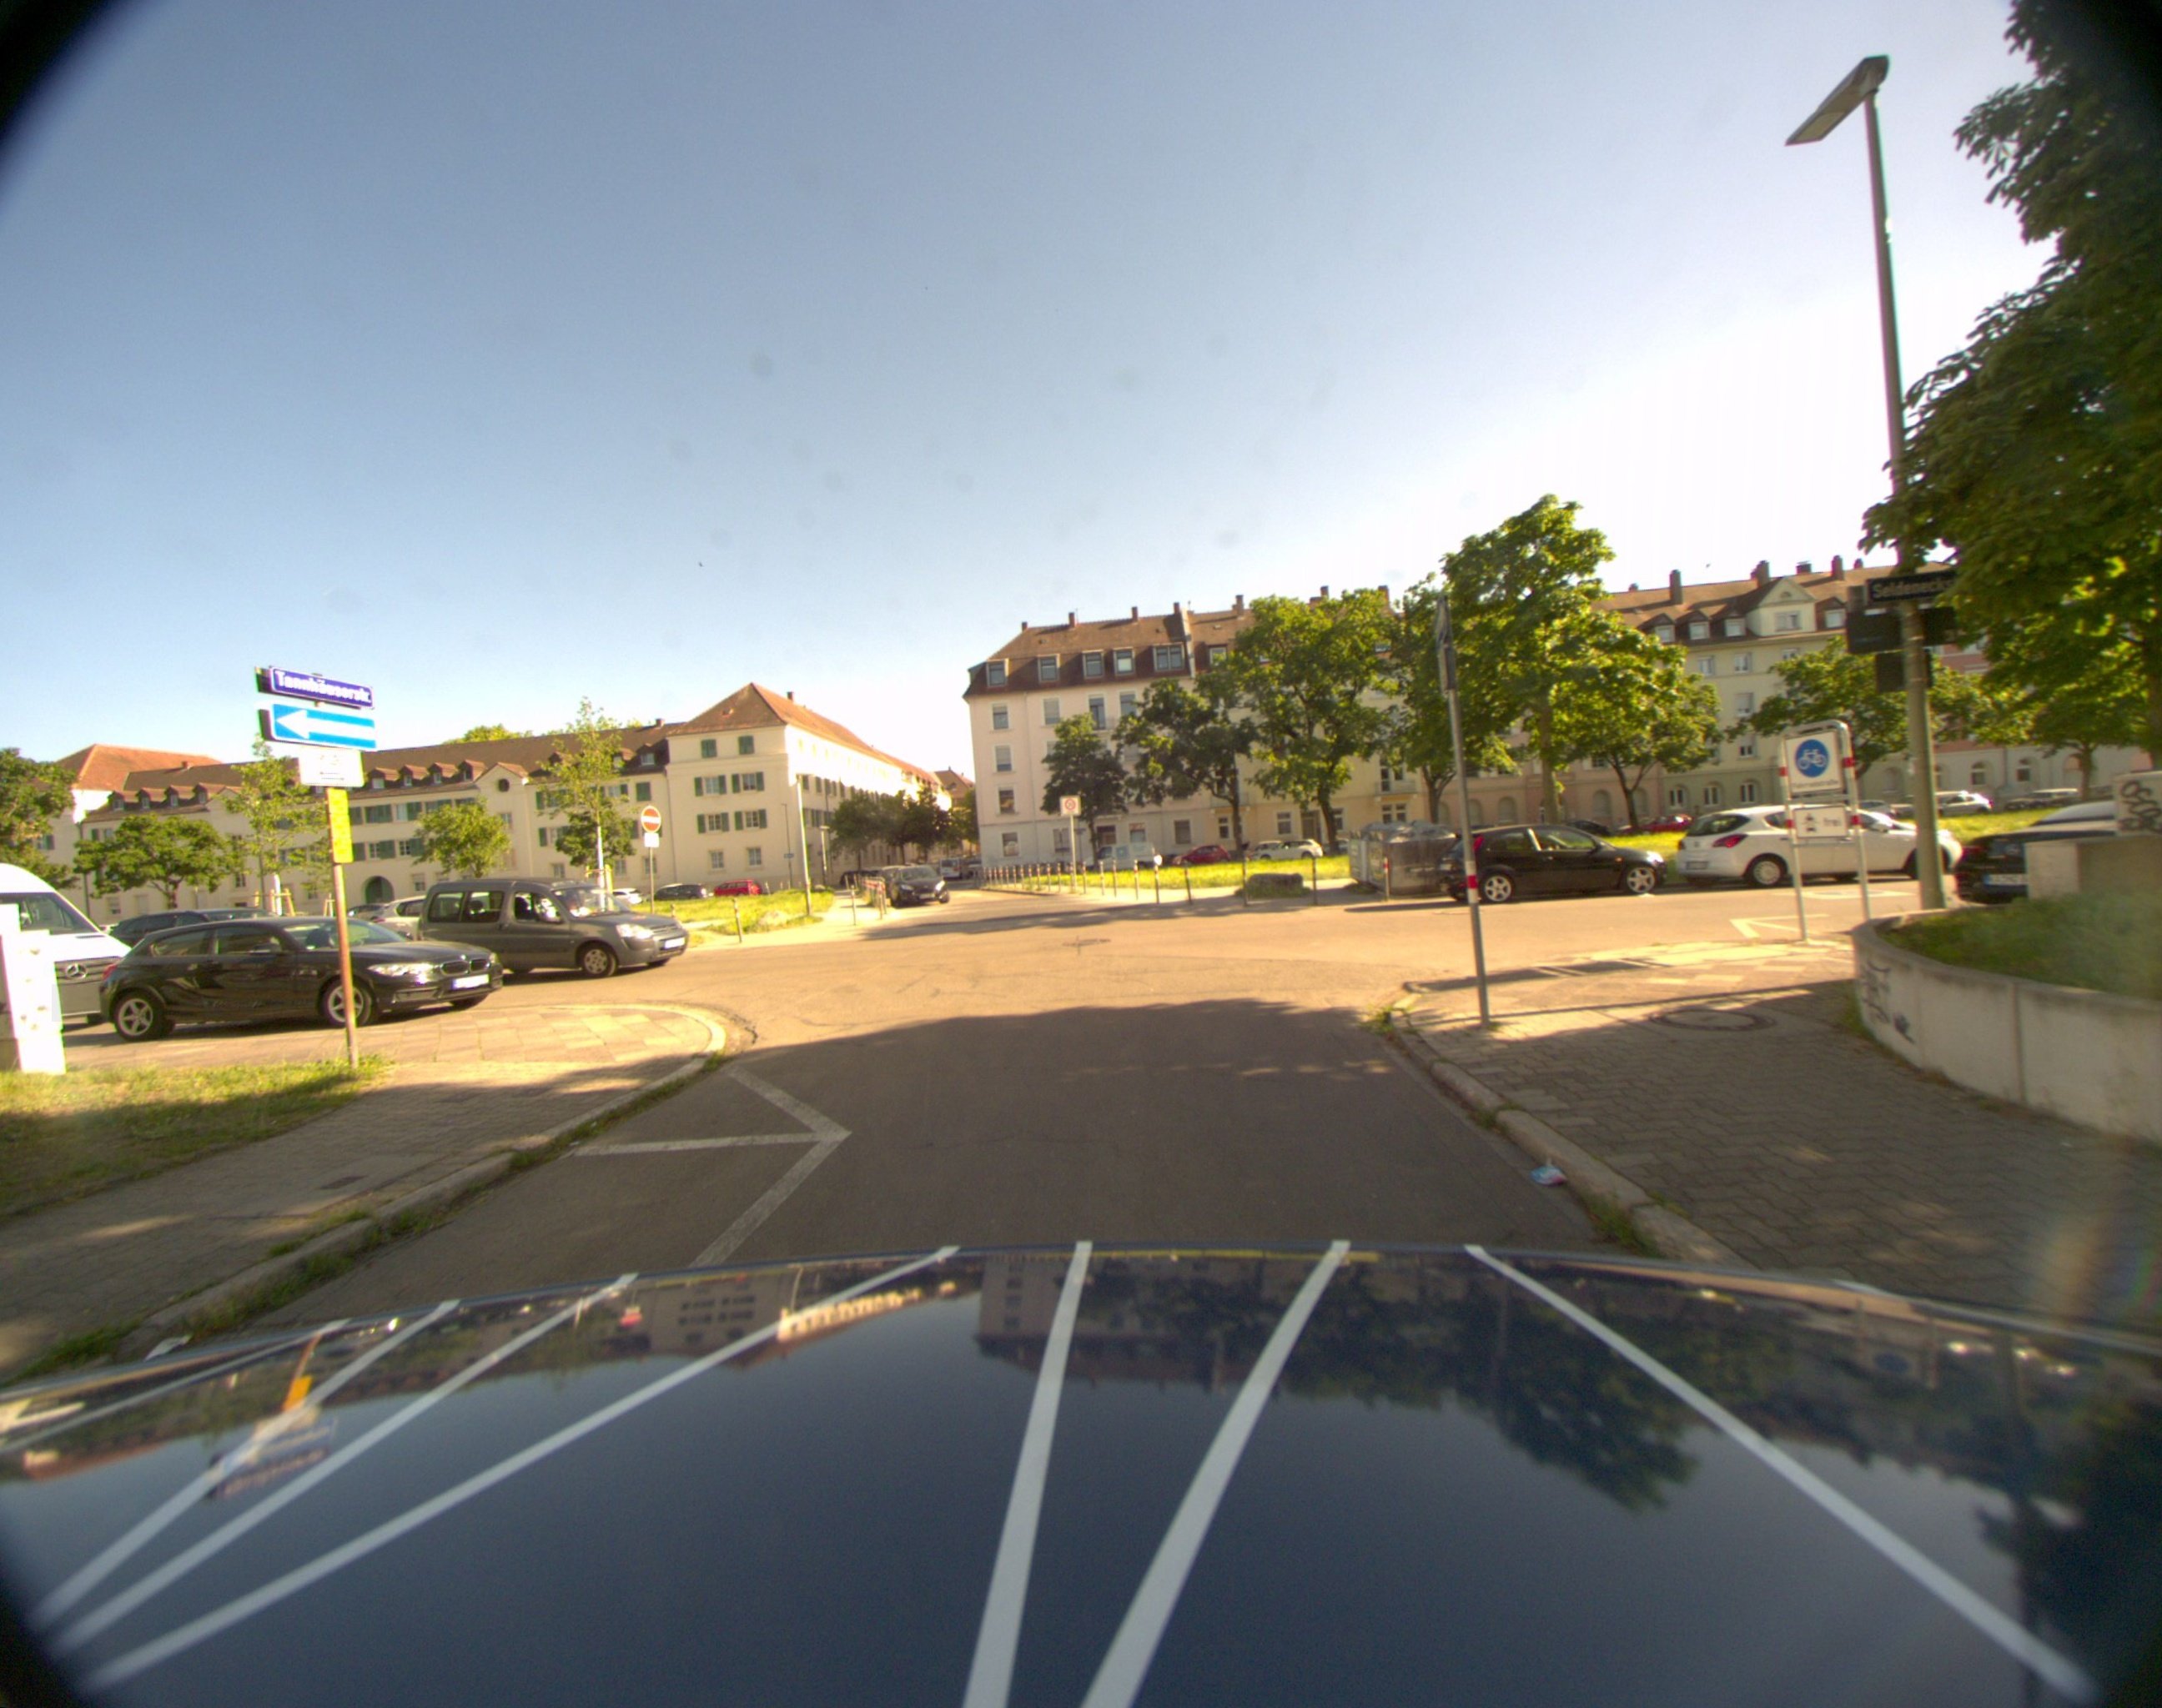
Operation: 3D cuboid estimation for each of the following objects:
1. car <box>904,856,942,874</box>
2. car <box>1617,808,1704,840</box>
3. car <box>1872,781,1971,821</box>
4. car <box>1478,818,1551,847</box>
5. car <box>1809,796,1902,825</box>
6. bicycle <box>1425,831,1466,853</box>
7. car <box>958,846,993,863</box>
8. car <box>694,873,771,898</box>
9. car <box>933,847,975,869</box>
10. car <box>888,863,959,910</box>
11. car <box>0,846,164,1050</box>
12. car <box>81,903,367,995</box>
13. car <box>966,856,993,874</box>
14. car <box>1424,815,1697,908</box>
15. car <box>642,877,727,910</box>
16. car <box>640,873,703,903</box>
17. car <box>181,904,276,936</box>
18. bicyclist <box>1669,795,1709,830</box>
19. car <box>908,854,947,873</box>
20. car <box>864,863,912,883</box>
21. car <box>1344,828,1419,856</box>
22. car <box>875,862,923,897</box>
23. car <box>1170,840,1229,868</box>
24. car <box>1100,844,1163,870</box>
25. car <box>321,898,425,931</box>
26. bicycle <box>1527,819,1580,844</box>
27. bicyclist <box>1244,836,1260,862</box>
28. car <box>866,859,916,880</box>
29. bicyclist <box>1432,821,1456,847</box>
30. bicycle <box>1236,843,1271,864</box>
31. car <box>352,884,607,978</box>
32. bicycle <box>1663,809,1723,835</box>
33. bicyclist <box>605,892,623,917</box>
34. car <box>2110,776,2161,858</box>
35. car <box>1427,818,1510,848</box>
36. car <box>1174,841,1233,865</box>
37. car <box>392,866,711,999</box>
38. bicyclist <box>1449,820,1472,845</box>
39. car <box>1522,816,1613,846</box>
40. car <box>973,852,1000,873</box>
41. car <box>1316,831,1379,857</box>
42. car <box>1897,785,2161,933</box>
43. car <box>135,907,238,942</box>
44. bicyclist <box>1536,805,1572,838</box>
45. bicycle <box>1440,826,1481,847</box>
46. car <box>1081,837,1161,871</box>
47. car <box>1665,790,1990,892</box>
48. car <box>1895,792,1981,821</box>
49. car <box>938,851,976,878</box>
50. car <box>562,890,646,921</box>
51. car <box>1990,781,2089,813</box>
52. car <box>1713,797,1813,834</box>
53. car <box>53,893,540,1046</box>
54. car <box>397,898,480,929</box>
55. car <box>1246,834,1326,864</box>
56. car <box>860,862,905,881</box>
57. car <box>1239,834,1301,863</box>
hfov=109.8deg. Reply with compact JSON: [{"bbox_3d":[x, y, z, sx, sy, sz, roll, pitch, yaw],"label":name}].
[{"bbox_3d":[-17.041,1.209,82.154,3.612,1.631,1.832,-4,1,1],"label":"car"},{"bbox_3d":[36.277,-1.856,47.603,4.077,1.677,1.637,-4,1,3],"label":"car"},{"bbox_3d":[57.025,-3.559,51.607,4.459,2.246,1.782,-4,1,3],"label":"car"},{"bbox_3d":[30.567,-1.492,53.677,3.995,1.691,1.853,-4,1,7],"label":"car"},{"bbox_3d":[47.533,-2.666,46.699,3.770,1.421,1.700,-4,1,6],"label":"car"},{"bbox_3d":[20.942,-0.688,43.703,1.954,1.073,0.734,-4,1,3],"label":"bicycle"},{"bbox_3d":[-16.687,0.092,120.320,4.952,2.381,1.956,-4,1,1],"label":"car"},{"bbox_3d":[-26.830,2.398,58.516,4.953,1.476,2.001,-4,0,4],"label":"car"},{"bbox_3d":[-16.747,0.538,100.275,4.952,2.505,1.956,-4,1,1],"label":"car"},{"bbox_3d":[-5.916,1.125,28.186,1.921,1.401,4.341,-7,1,-19],"label":"car"},{"bbox_3d":[-17.662,1.493,10.973,6.833,2.696,2.151,-4,-1,6],"label":"car"},{"bbox_3d":[-19.478,2.128,17.387,4.709,1.628,1.850,-4,-1,5],"label":"car"},{"bbox_3d":[-9.964,1.042,74.654,1.936,1.560,3.882,-4,1,1],"label":"car"},{"bbox_3d":[8.827,0.159,14.298,3.911,1.416,1.755,-3,-1,6],"label":"car"},{"bbox_3d":[-27.626,2.735,53.059,4.700,1.810,2.165,-4,1,3],"label":"car"},{"bbox_3d":[-31.774,2.663,58.974,3.893,2.002,1.671,-4,1,5],"label":"car"},{"bbox_3d":[-69.493,5.361,62.000,5.253,1.973,2.228,-4,1,3],"label":"car"},{"bbox_3d":[34.586,-2.337,43.220,1.448,1.826,0.945,-3,0,4],"label":"bicyclist"},{"bbox_3d":[-17.075,1.076,84.551,3.709,1.824,1.956,-4,1,1],"label":"car"},{"bbox_3d":[-17.156,1.699,67.722,3.664,1.512,1.713,-4,1,4],"label":"car"},{"bbox_3d":[19.308,-0.767,48.990,4.077,1.518,1.699,-4,1,3],"label":"car"},{"bbox_3d":[-9.660,1.327,40.083,1.930,1.567,4.342,-5,0,-19],"label":"car"},{"bbox_3d":[8.659,0.005,55.720,4.049,1.741,2.000,-4,1,6],"label":"car"},{"bbox_3d":[3.703,0.201,55.904,4.448,1.577,2.000,-4,1,1],"label":"car"},{"bbox_3d":[-51.230,4.368,55.075,5.447,1.810,2.459,-4,1,6],"label":"car"},{"bbox_3d":[27.696,-1.322,44.544,2.634,1.245,0.812,-5,1,-6],"label":"bicycle"},{"bbox_3d":[11.498,-0.344,51.166,0.878,1.681,0.632,-4,1,4],"label":"bicyclist"},{"bbox_3d":[-18.174,1.493,72.911,4.238,1.691,1.706,-4,1,3],"label":"car"},{"bbox_3d":[20.874,-1.163,43.719,0.941,1.429,0.740,-3,0,5],"label":"bicyclist"},{"bbox_3d":[11.595,-0.056,51.169,2.152,1.251,0.714,-4,1,3],"label":"bicycle"},{"bbox_3d":[-13.030,1.640,16.606,4.282,1.637,1.763,-4,-1,6],"label":"car"},{"bbox_3d":[34.761,-1.796,43.184,2.632,1.245,0.813,-4,1,3],"label":"bicycle"},{"bbox_3d":[-35.168,3.799,57.192,0.801,1.792,0.675,-4,1,5],"label":"bicyclist"},{"bbox_3d":[21.165,-0.799,13.053,4.121,1.453,1.786,-4,1,6],"label":"car"},{"bbox_3d":[24.586,-1.309,48.356,4.351,1.540,1.637,-4,1,3],"label":"car"},{"bbox_3d":[7.998,-0.096,49.852,3.523,1.272,1.699,-4,1,3],"label":"car"},{"bbox_3d":[-9.017,1.299,13.184,4.152,1.780,1.904,-5,1,5],"label":"car"},{"bbox_3d":[22.416,-1.251,44.913,0.941,1.429,0.740,-3,0,5],"label":"bicyclist"},{"bbox_3d":[30.766,-1.459,48.099,4.524,1.540,1.762,-4,1,3],"label":"car"},{"bbox_3d":[-9.894,0.839,79.640,1.998,1.962,5.052,-4,1,0],"label":"car"},{"bbox_3d":[19.132,-0.711,54.734,3.857,1.606,1.891,-4,1,4],"label":"car"},{"bbox_3d":[11.912,-0.075,7.771,4.500,1.329,2.134,-4,-2,6],"label":"car"},{"bbox_3d":[-66.293,5.211,56.356,5.252,1.973,2.228,-4,1,5],"label":"car"},{"bbox_3d":[27.711,-1.887,44.540,1.449,1.826,0.944,-3,0,-6],"label":"bicyclist"},{"bbox_3d":[22.434,-1.013,44.917,1.954,1.073,0.734,-4,1,3],"label":"bicycle"},{"bbox_3d":[2.669,-0.028,50.651,5.093,1.861,2.088,-4,1,3],"label":"car"},{"bbox_3d":[13.302,-0.185,13.786,3.870,1.486,1.784,-4,-1,6],"label":"car"},{"bbox_3d":[52.197,-2.868,46.318,3.337,1.432,1.385,-4,1,6],"label":"car"},{"bbox_3d":[-10.394,0.826,63.960,2.138,2.002,4.576,-4,1,2],"label":"car"},{"bbox_3d":[-37.295,3.997,59.488,5.153,1.875,2.161,-4,1,5],"label":"car"},{"bbox_3d":[64.316,-3.810,51.021,3.996,1.739,1.866,-4,1,4],"label":"car"},{"bbox_3d":[42.278,-2.361,47.138,4.457,1.897,1.742,-4,1,3],"label":"car"},{"bbox_3d":[-10.059,1.436,9.995,4.494,1.473,1.966,-4,-1,4],"label":"car"},{"bbox_3d":[-46.188,4.263,54.653,4.004,1.740,2.325,-4,1,6],"label":"car"},{"bbox_3d":[13.281,-0.325,49.443,4.693,1.552,1.699,-4,1,3],"label":"car"},{"bbox_3d":[-18.425,1.609,70.684,3.612,1.512,1.708,-4,1,1],"label":"car"},{"bbox_3d":[13.691,-0.411,55.251,3.996,1.747,1.869,-4,1,4],"label":"car"}]
